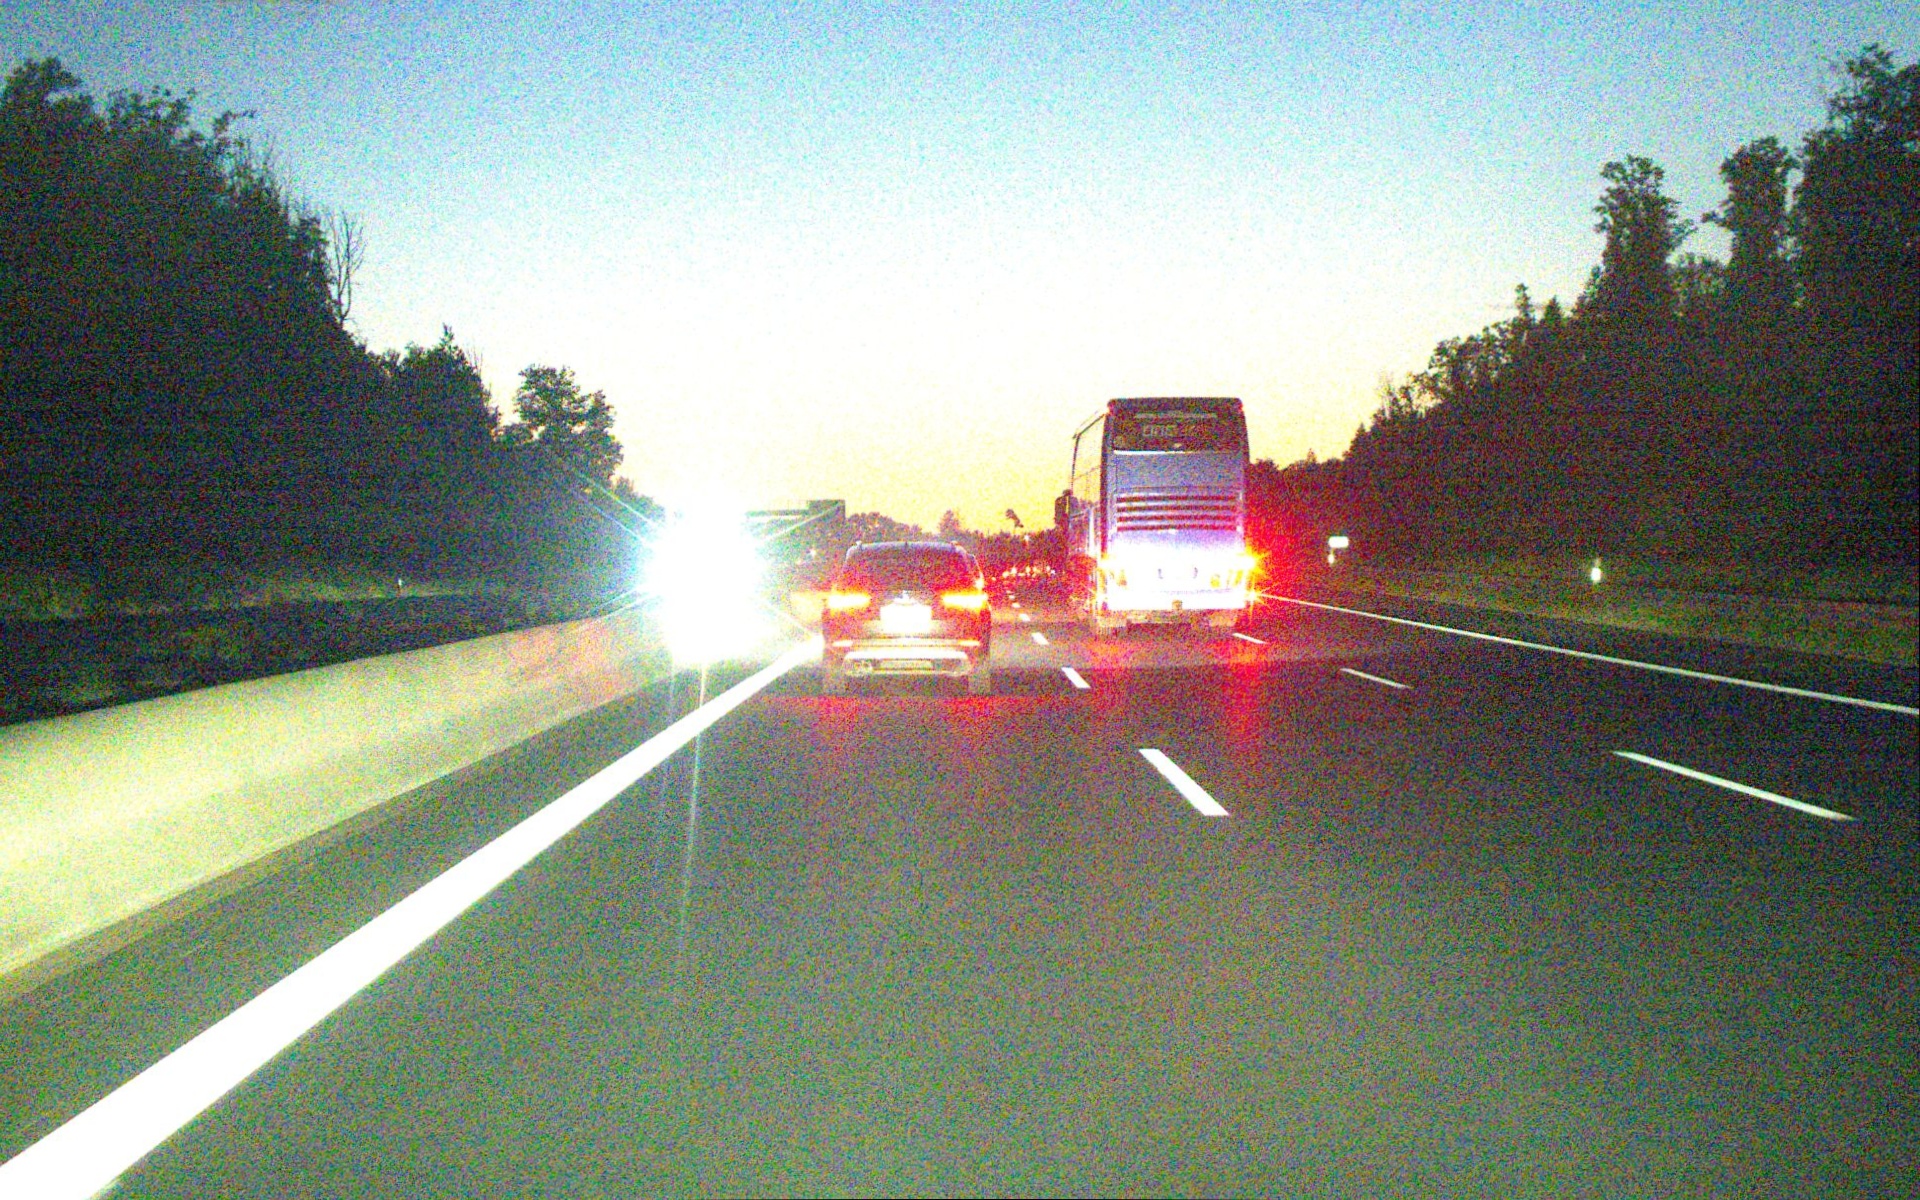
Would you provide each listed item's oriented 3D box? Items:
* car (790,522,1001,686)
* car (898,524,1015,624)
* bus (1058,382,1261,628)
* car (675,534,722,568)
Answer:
[{"bbox_3d":[-0.704,0.041,37.008,2.105,1.612,4.204,-2,0,-1],"label":"car"},{"bbox_3d":[-0.100,-0.474,65.336,1.911,1.724,4.000,3,0,-3],"label":"car"},{"bbox_3d":[3.503,-1.579,64.080,2.652,3.980,14.702,-2,0,-1],"label":"bus"},{"bbox_3d":[-12.287,-2.336,161.932,1.933,1.556,4.454,1,1,-1],"label":"car"}]
